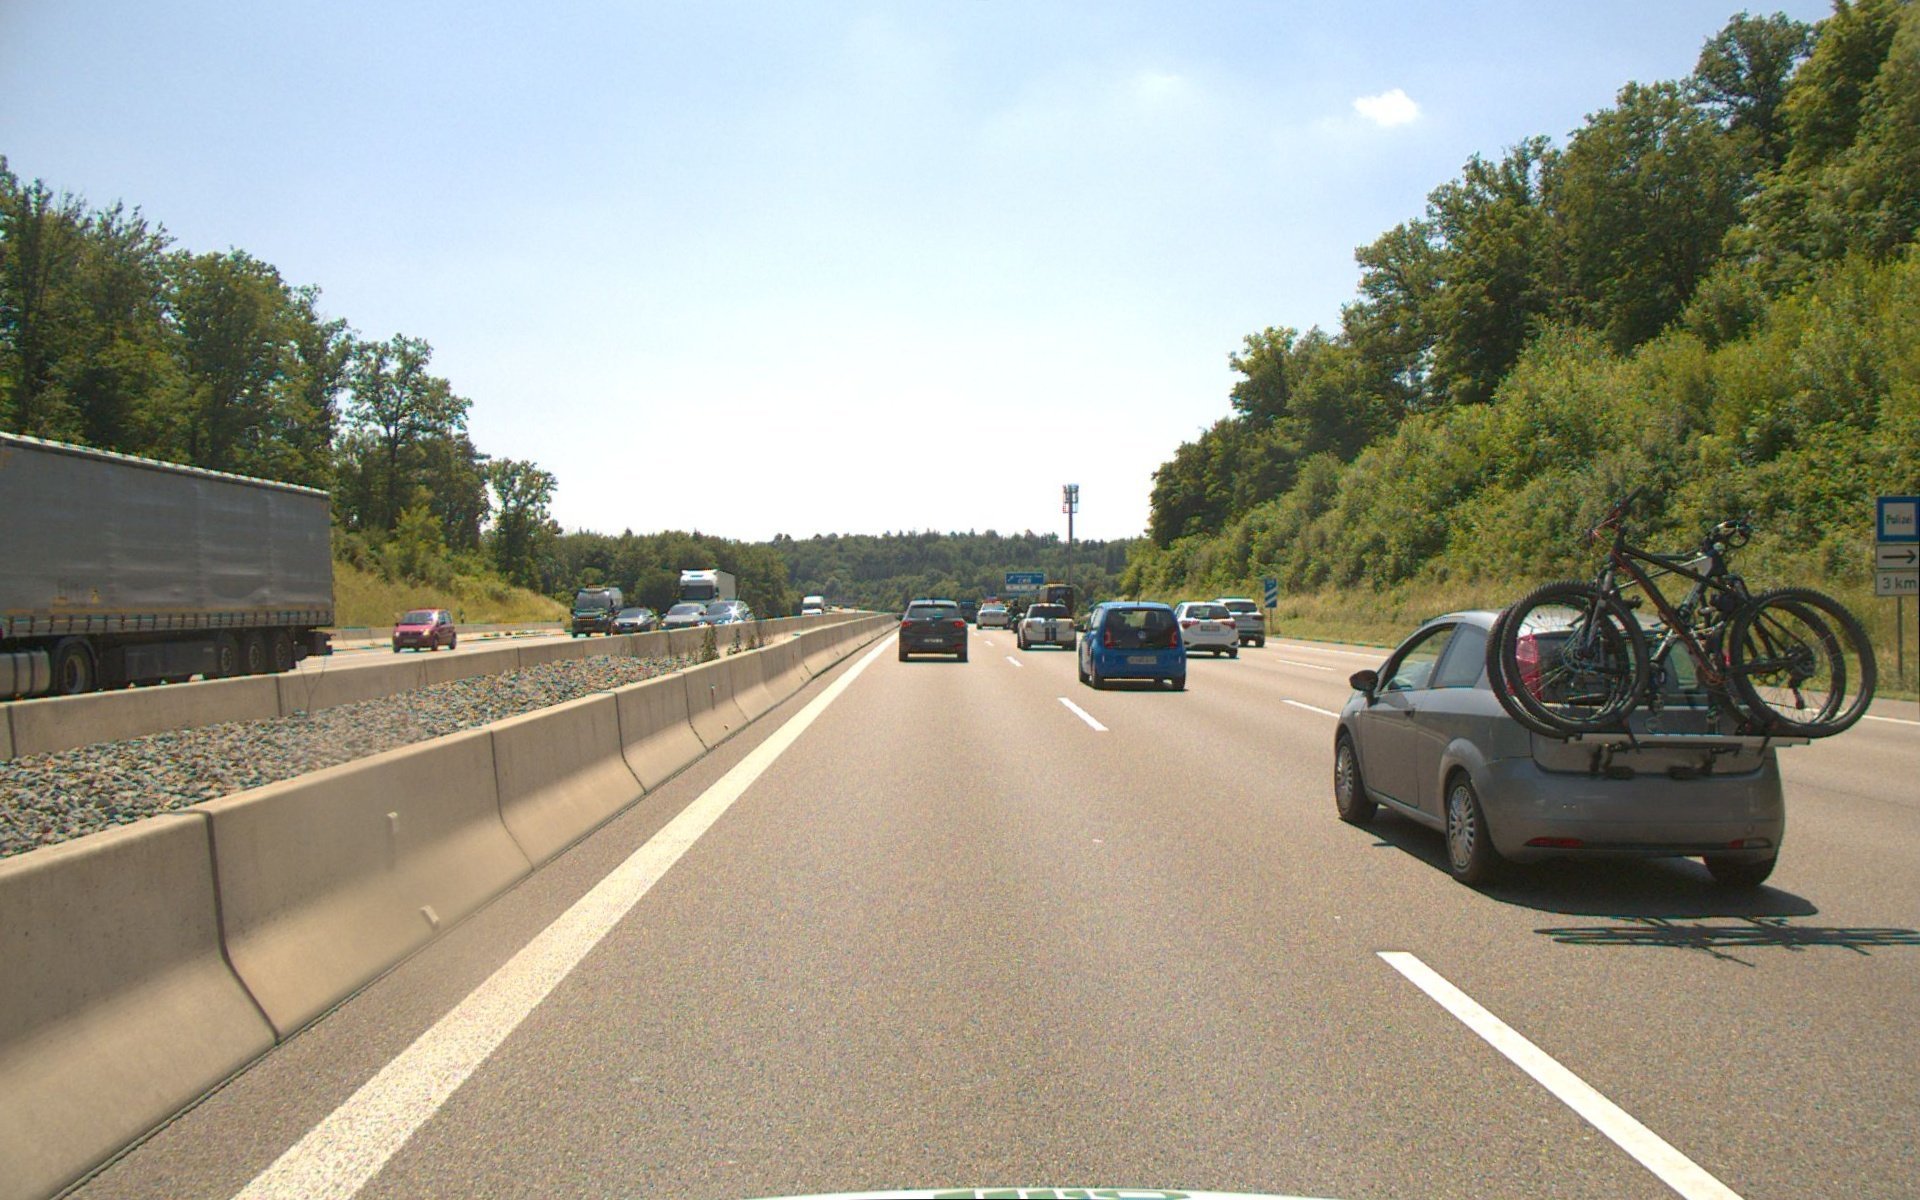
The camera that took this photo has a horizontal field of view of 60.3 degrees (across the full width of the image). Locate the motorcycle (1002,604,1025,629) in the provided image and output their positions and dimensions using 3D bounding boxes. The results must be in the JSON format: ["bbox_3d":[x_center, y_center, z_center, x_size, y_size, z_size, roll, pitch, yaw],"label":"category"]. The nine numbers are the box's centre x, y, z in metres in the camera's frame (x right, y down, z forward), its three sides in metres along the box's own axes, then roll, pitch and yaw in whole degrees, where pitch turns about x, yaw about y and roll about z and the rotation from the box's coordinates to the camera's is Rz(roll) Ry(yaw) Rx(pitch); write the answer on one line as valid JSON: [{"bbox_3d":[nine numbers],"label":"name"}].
[{"bbox_3d":[2.555,0.778,79.527,0.957,1.149,2.270,-1,0,-1],"label":"motorcycle"}]

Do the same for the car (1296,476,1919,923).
[{"bbox_3d":[3.539,0.450,10.157,1.921,2.089,4.783,0,0,-1],"label":"car"}]

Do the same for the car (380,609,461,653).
[{"bbox_3d":[-19.966,1.139,61.396,1.833,1.527,3.719,-1,0,-1],"label":"car"}]

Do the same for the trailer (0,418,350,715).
[{"bbox_3d":[-15.434,-0.460,31.016,3.038,4.328,13.836,-2,0,-1],"label":"trailer"}]

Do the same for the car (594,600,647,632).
[{"bbox_3d":[-15.852,0.711,77.364,1.633,1.432,4.439,-1,0,-1],"label":"car"}]

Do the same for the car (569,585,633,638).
[{"bbox_3d":[-19.657,0.620,90.846,2.097,2.710,6.777,-2,0,-1],"label":"car"}]

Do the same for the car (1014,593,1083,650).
[{"bbox_3d":[2.699,0.643,51.325,1.804,1.579,4.000,3,0,-1],"label":"car"}]

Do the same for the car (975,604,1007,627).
[{"bbox_3d":[1.726,0.869,94.046,1.746,1.287,3.460,-1,0,0],"label":"car"}]

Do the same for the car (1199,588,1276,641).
[{"bbox_3d":[9.880,0.506,59.252,1.764,1.761,5.238,1,0,-1],"label":"car"}]

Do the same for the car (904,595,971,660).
[{"bbox_3d":[-0.556,0.642,40.887,1.591,1.513,3.684,0,0,-1],"label":"car"}]

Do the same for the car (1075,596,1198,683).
[{"bbox_3d":[3.074,0.692,29.511,1.702,1.436,3.999,0,-1,-1],"label":"car"}]

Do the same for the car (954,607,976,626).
[{"bbox_3d":[0.476,1.610,164.377,2.055,1.884,4.079,0,0,-2],"label":"car"}]

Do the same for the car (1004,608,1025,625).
[{"bbox_3d":[4.904,1.461,148.610,1.642,1.457,3.683,-1,0,-3],"label":"car"}]

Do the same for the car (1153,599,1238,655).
[{"bbox_3d":[6.538,0.710,46.288,1.632,1.458,4.374,-1,0,-2],"label":"car"}]

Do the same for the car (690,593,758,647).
[{"bbox_3d":[-8.388,0.682,59.080,1.833,1.808,4.467,-1,0,-1],"label":"car"}]

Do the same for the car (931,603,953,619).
[{"bbox_3d":[-1.986,1.218,179.930,1.955,1.713,4.418,1,0,-5],"label":"car"}]

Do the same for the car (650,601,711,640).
[{"bbox_3d":[-12.239,0.919,72.696,1.987,1.532,5.437,-2,-1,-3],"label":"car"}]

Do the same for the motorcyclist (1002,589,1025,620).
[{"bbox_3d":[2.568,0.205,79.522,0.943,1.463,1.234,-2,-1,-2],"label":"motorcyclist"}]

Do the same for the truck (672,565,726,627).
[{"bbox_3d":[-18.351,-0.284,116.559,2.837,4.140,7.785,-1,0,-3],"label":"truck"}]

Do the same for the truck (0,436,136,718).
[{"bbox_3d":[-15.402,-0.309,24.325,3.199,4.052,6.796,-1,0,-1],"label":"truck"}]

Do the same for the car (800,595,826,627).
[{"bbox_3d":[-14.228,1.074,160.535,2.044,2.848,7.598,-3,0,-3],"label":"car"}]

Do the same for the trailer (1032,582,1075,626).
[{"bbox_3d":[8.673,0.463,154.963,2.800,3.753,13.536,-1,-1,-2],"label":"trailer"}]
